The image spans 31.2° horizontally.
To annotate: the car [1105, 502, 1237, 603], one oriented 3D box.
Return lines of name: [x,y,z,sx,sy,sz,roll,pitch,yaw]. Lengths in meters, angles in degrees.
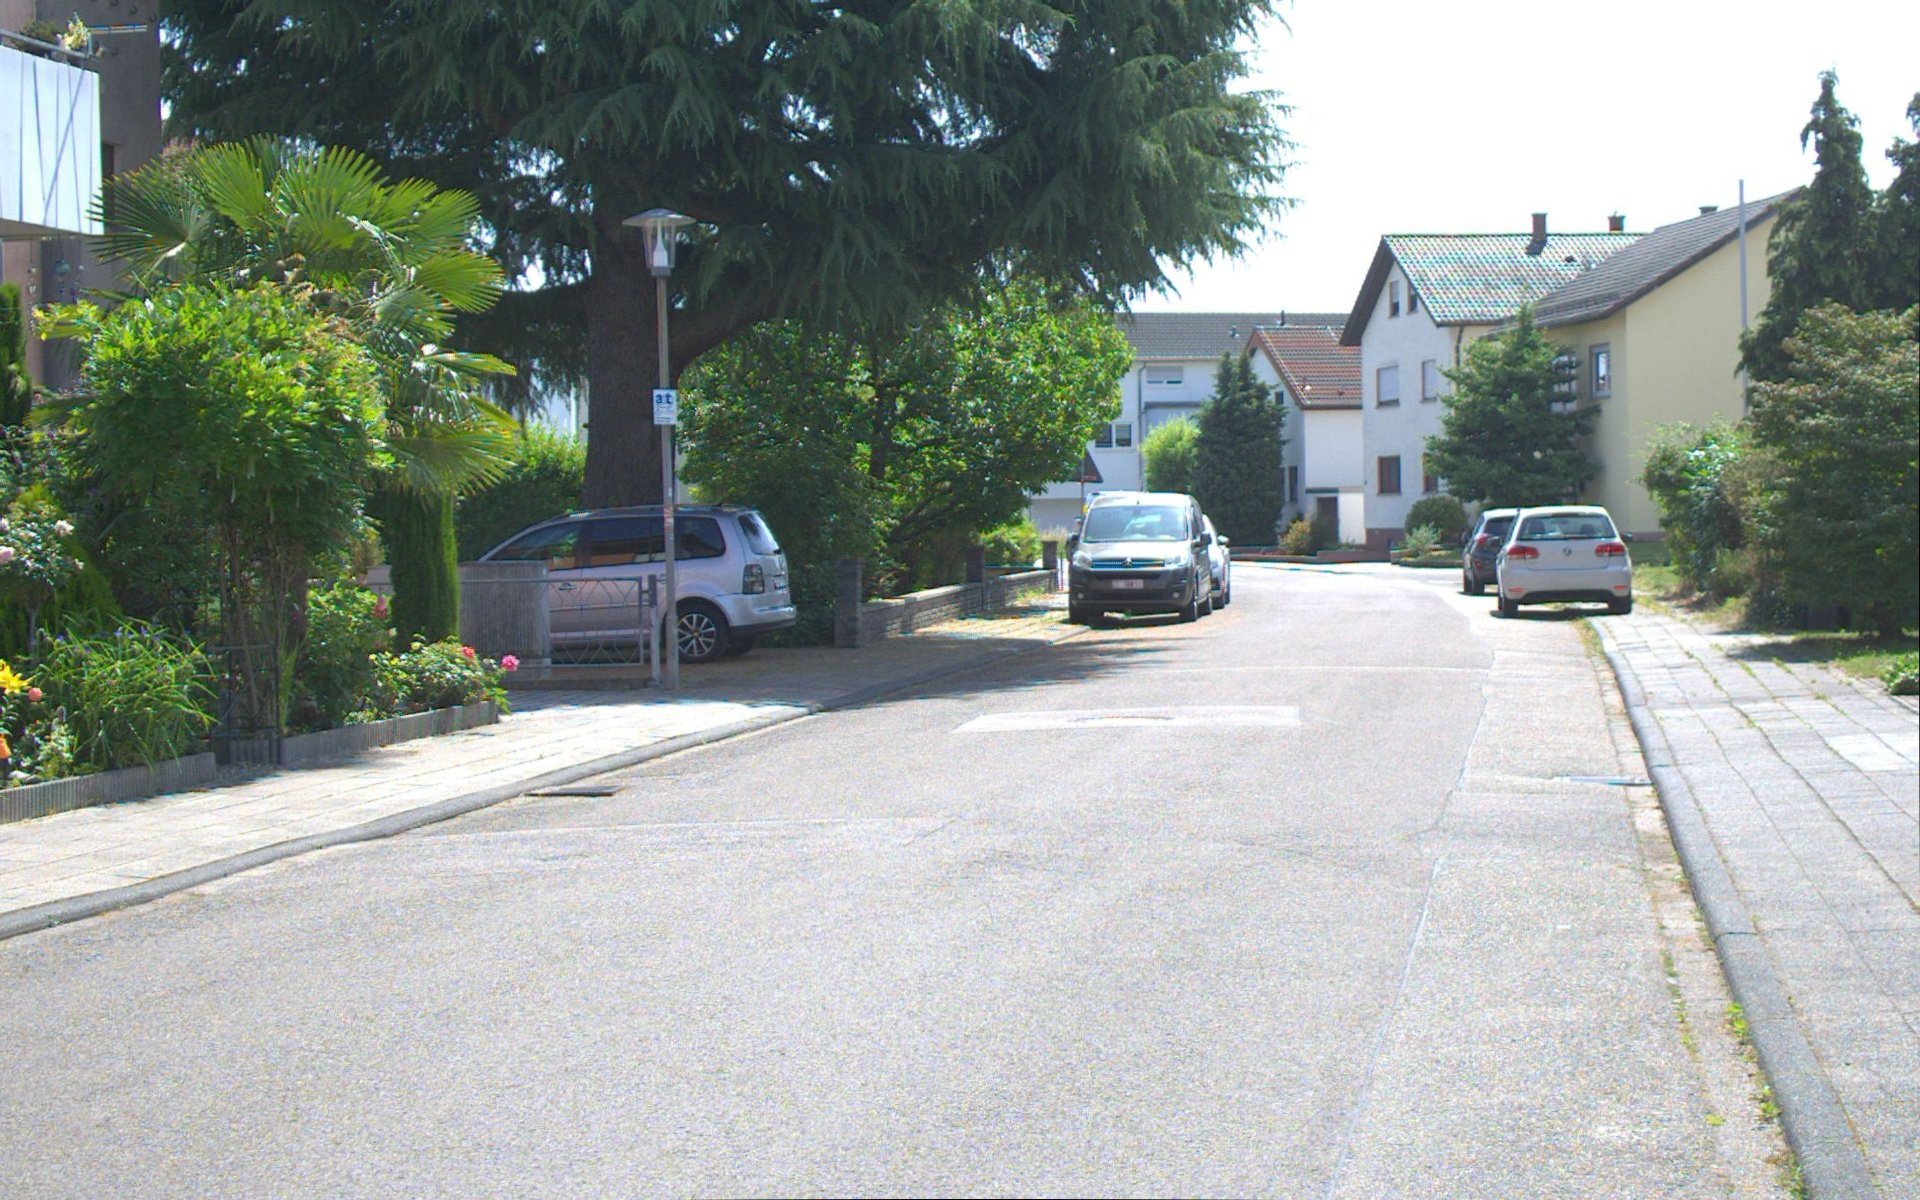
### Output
car: [3.342,-0.777,53.931,1.808,1.490,3.999,-1,2,7]

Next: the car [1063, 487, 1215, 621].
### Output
car: [2.539,-0.677,48.033,1.808,1.757,4.206,-1,2,7]

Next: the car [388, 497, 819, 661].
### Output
car: [-3.778,-0.236,36.706,4.195,1.647,1.813,-1,2,12]

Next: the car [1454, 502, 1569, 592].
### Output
car: [9.604,-0.949,60.093,1.808,1.490,3.999,-1,2,7]

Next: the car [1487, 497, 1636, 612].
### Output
car: [8.286,-0.661,47.597,1.808,1.490,3.999,-1,2,7]
